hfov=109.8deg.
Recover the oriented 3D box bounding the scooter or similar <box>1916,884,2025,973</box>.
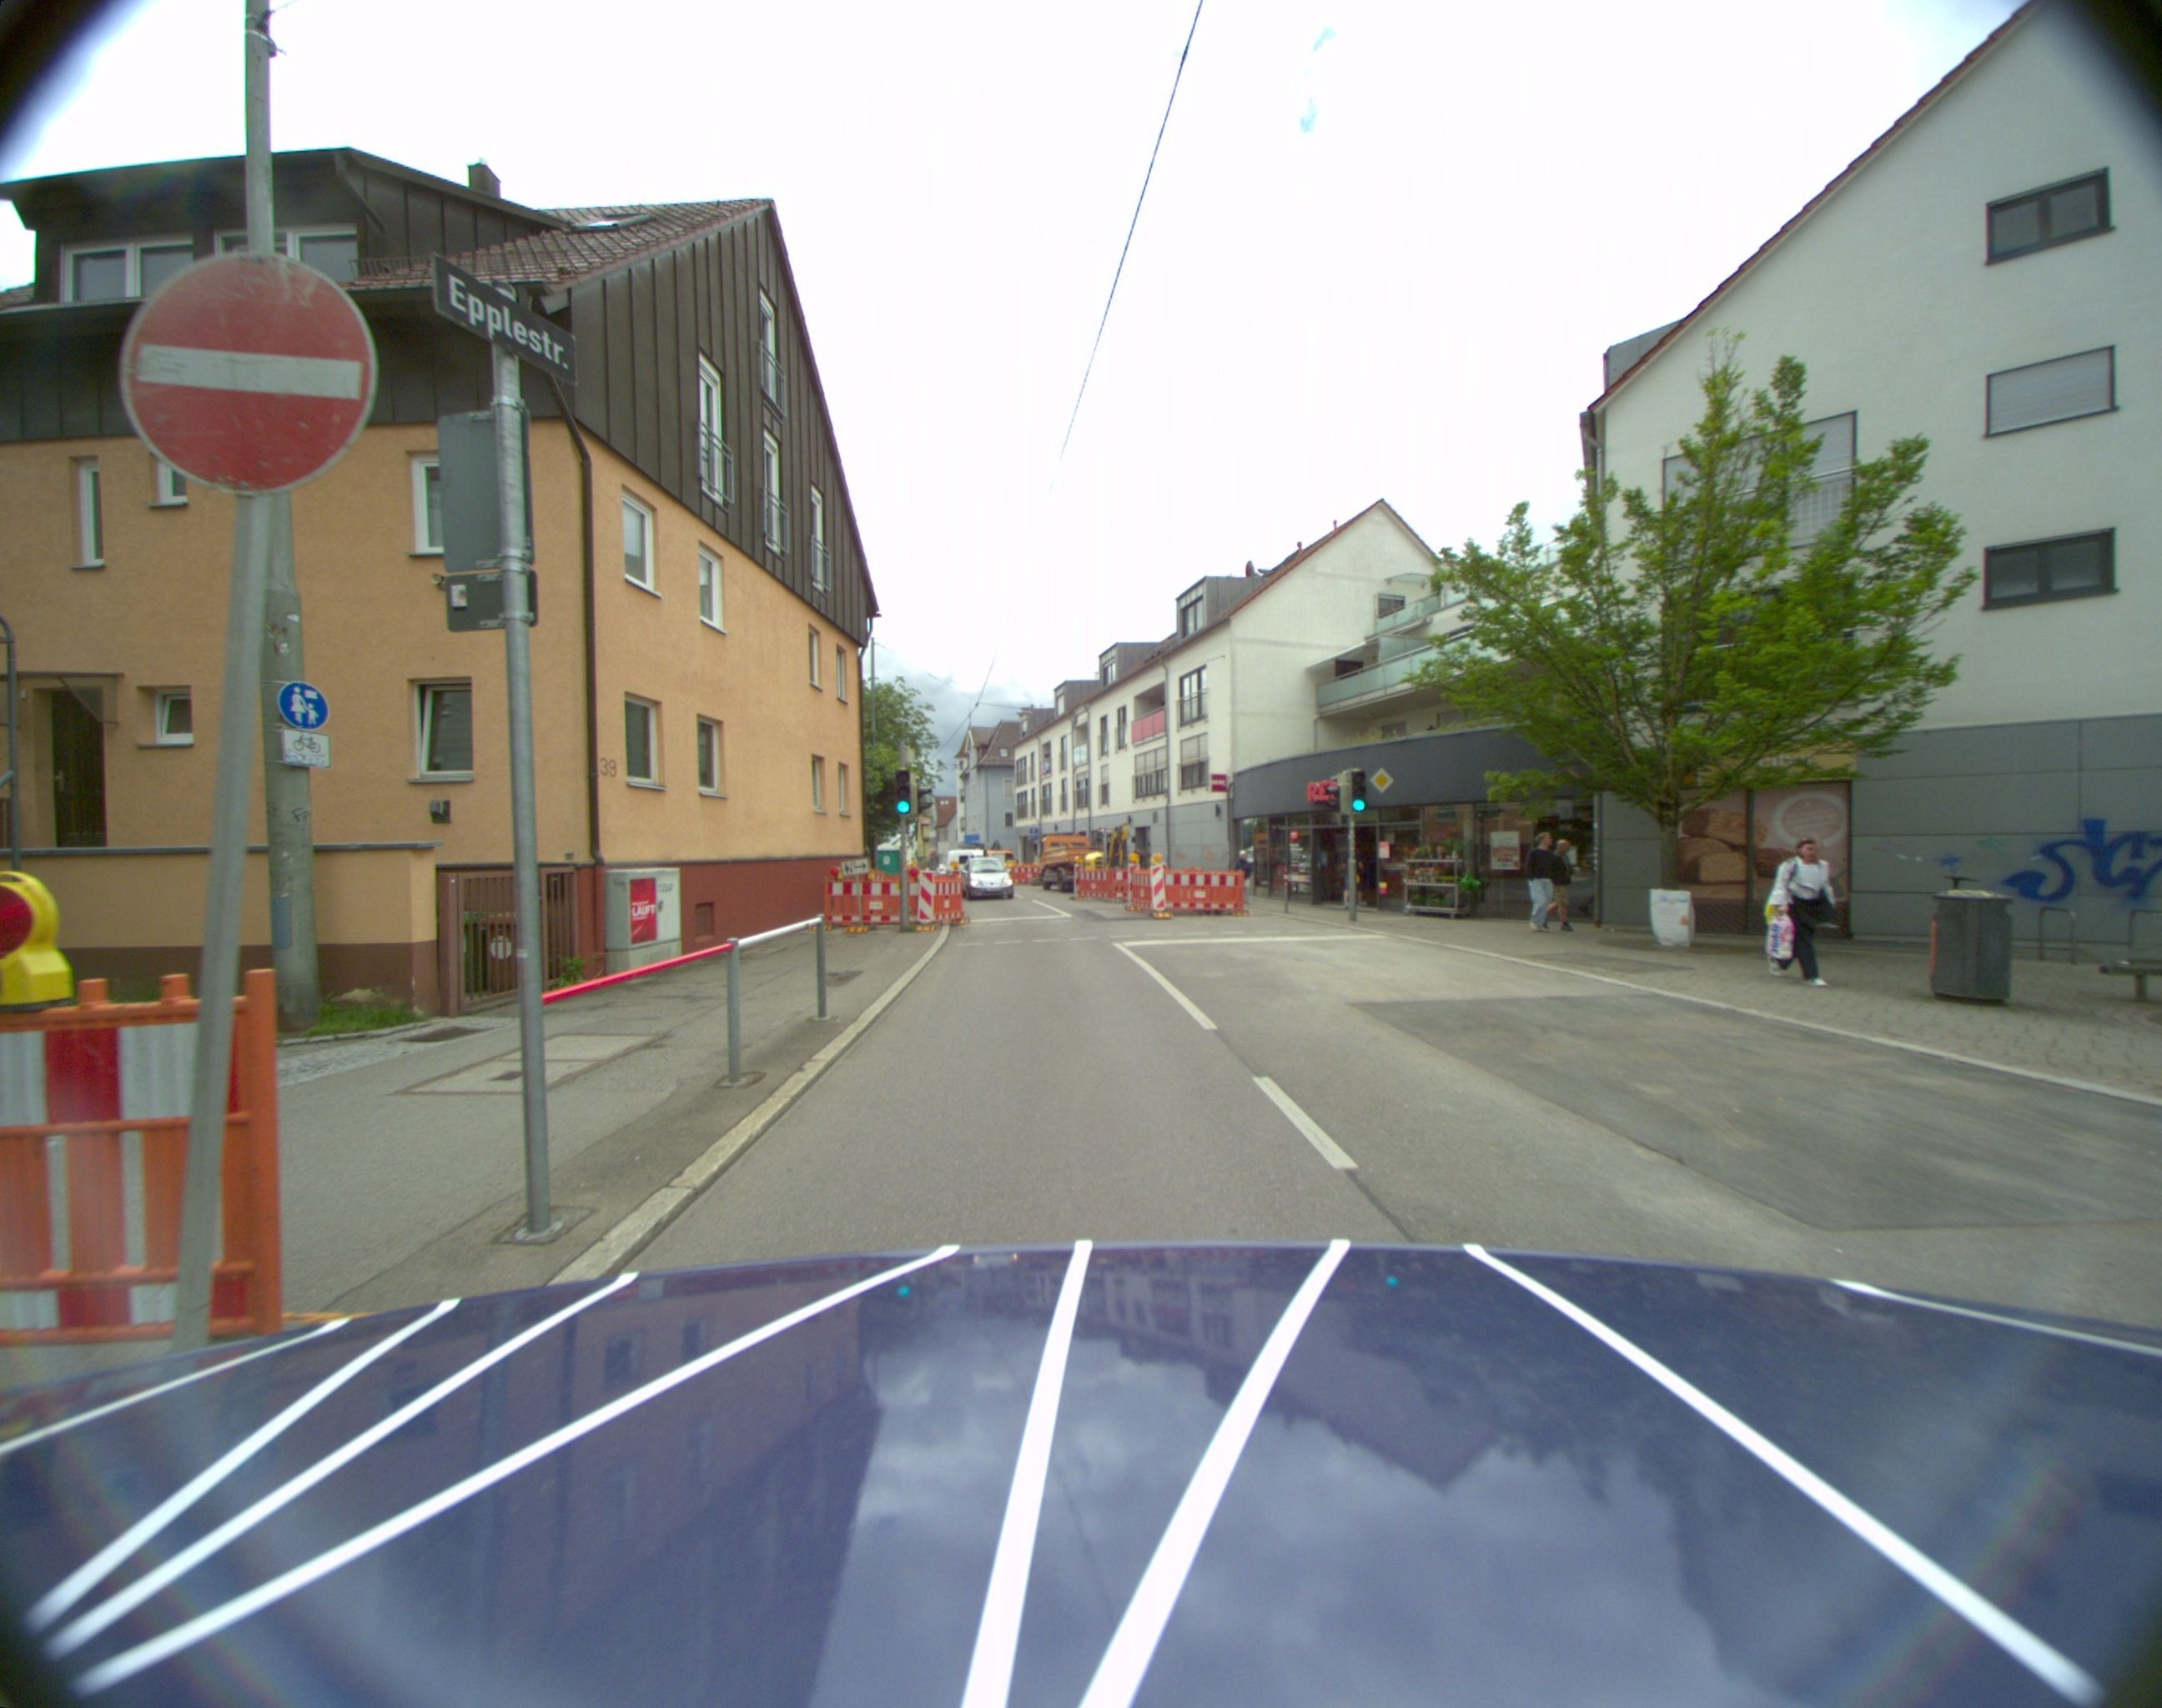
[{"bbox_3d":[12.806,1.030,10.986,0.596,1.117,1.536,0,0,32],"label":"scooter or similar"}]

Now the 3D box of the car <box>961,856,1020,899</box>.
[{"bbox_3d":[-3.627,0.897,29.840,1.860,1.547,4.348,0,-1,-12],"label":"car"}]

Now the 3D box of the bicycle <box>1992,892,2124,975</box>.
[{"bbox_3d":[13.405,1.059,10.484,0.530,1.040,1.749,0,-3,32],"label":"bicycle"}]

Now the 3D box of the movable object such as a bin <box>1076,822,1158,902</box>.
[{"bbox_3d":[1.227,0.231,28.249,1.846,2.748,4.499,-1,1,-13],"label":"movable object such as a bin"}]

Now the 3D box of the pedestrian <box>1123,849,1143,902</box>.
[{"bbox_3d":[1.720,0.719,25.288,0.539,1.734,0.443,-1,1,-11],"label":"pedestrian"}]

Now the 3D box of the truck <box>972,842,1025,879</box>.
[{"bbox_3d":[-5.901,0.497,53.562,2.423,2.451,6.298,0,-1,-19],"label":"truck"}]

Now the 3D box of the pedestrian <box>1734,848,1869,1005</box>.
[{"bbox_3d":[7.695,0.731,8.158,0.682,1.583,0.880,0,1,11],"label":"pedestrian"}]

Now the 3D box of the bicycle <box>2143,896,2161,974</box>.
[{"bbox_3d":[14.503,1.070,9.445,0.749,1.040,2.156,0,-1,32],"label":"bicycle"}]

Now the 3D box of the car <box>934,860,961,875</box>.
[{"bbox_3d":[-12.989,1.269,73.810,1.805,1.403,3.993,0,-1,-22],"label":"car"}]

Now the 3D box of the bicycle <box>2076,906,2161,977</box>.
[{"bbox_3d":[14.036,1.151,10.054,0.495,0.877,1.634,0,-4,32],"label":"bicycle"}]

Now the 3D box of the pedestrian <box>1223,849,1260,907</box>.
[{"bbox_3d":[4.890,0.719,23.205,0.835,1.702,0.815,-1,0,-9],"label":"pedestrian"}]

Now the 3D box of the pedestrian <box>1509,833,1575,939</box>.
[{"bbox_3d":[8.640,0.575,14.254,0.818,1.914,0.782,-1,1,-37],"label":"pedestrian"}]

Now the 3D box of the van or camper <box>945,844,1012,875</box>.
[{"bbox_3d":[-8.999,0.545,66.363,6.190,2.592,2.332,-1,-1,43],"label":"van or camper"}]

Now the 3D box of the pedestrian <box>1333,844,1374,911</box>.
[{"bbox_3d":[7.724,0.656,21.551,0.756,1.833,0.787,-1,1,-34],"label":"pedestrian"}]

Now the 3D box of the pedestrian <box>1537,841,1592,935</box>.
[{"bbox_3d":[9.458,0.640,14.864,0.695,1.780,0.716,-2,1,-40],"label":"pedestrian"}]

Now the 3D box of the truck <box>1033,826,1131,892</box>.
[{"bbox_3d":[-0.143,0.231,34.661,2.742,2.708,6.839,-1,-1,-15],"label":"truck"}]
